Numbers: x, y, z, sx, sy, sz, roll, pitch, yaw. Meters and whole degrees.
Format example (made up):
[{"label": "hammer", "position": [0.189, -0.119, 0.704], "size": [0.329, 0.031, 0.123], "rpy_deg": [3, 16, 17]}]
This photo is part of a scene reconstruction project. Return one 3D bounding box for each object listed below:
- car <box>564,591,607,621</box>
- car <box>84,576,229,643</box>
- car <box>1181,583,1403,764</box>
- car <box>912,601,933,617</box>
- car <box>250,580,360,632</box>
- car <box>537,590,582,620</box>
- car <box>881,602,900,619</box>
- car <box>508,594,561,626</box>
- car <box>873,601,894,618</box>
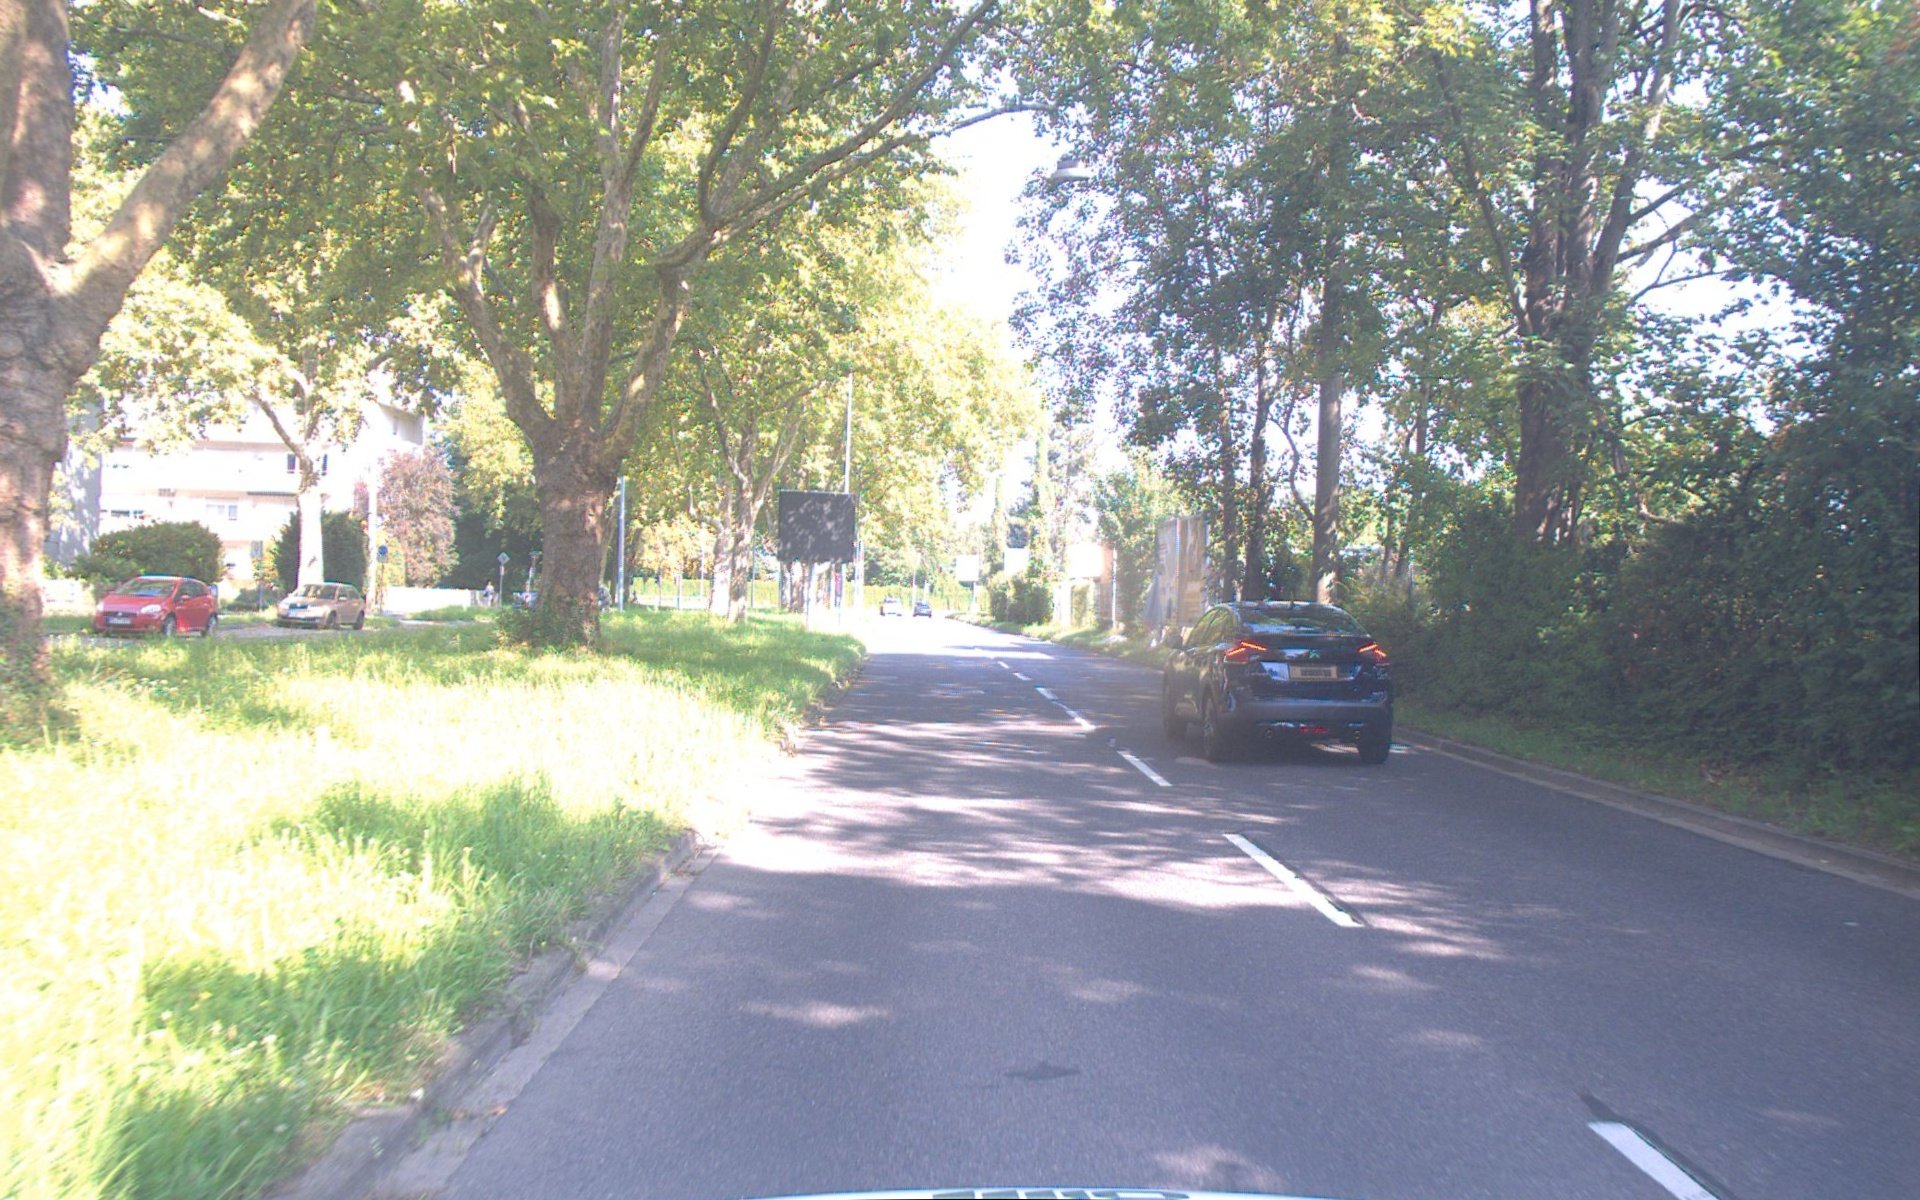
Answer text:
[{"label": "car", "position": [-22.877, 0.382, 101.134], "size": [1.665, 1.762, 4.657], "rpy_deg": [2, -1, -2]}, {"label": "car", "position": [-19.325, 0.244, 39.957], "size": [1.507, 1.477, 4.063], "rpy_deg": [2, -1, -1]}, {"label": "car", "position": [3.306, 0.691, 17.176], "size": [1.611, 1.616, 4.256], "rpy_deg": [1, -1, 3]}, {"label": "car", "position": [-3.583, 0.864, 156.323], "size": [1.762, 1.425, 3.997], "rpy_deg": [2, -1, -3]}, {"label": "car", "position": [-20.006, 0.183, 50.712], "size": [1.765, 1.455, 4.063], "rpy_deg": [2, 0, -1]}, {"label": "car", "position": [-22.508, 0.308, 93.090], "size": [1.665, 1.595, 3.998], "rpy_deg": [2, -1, -2]}, {"label": "car", "position": [-6.183, 0.930, 147.197], "size": [1.653, 1.487, 3.998], "rpy_deg": [2, -1, -2]}, {"label": "car", "position": [-21.671, 0.505, 84.352], "size": [1.665, 1.534, 4.538], "rpy_deg": [2, 0, -2]}, {"label": "car", "position": [-7.210, 0.892, 155.647], "size": [1.652, 1.487, 3.850], "rpy_deg": [2, -1, 1]}]
